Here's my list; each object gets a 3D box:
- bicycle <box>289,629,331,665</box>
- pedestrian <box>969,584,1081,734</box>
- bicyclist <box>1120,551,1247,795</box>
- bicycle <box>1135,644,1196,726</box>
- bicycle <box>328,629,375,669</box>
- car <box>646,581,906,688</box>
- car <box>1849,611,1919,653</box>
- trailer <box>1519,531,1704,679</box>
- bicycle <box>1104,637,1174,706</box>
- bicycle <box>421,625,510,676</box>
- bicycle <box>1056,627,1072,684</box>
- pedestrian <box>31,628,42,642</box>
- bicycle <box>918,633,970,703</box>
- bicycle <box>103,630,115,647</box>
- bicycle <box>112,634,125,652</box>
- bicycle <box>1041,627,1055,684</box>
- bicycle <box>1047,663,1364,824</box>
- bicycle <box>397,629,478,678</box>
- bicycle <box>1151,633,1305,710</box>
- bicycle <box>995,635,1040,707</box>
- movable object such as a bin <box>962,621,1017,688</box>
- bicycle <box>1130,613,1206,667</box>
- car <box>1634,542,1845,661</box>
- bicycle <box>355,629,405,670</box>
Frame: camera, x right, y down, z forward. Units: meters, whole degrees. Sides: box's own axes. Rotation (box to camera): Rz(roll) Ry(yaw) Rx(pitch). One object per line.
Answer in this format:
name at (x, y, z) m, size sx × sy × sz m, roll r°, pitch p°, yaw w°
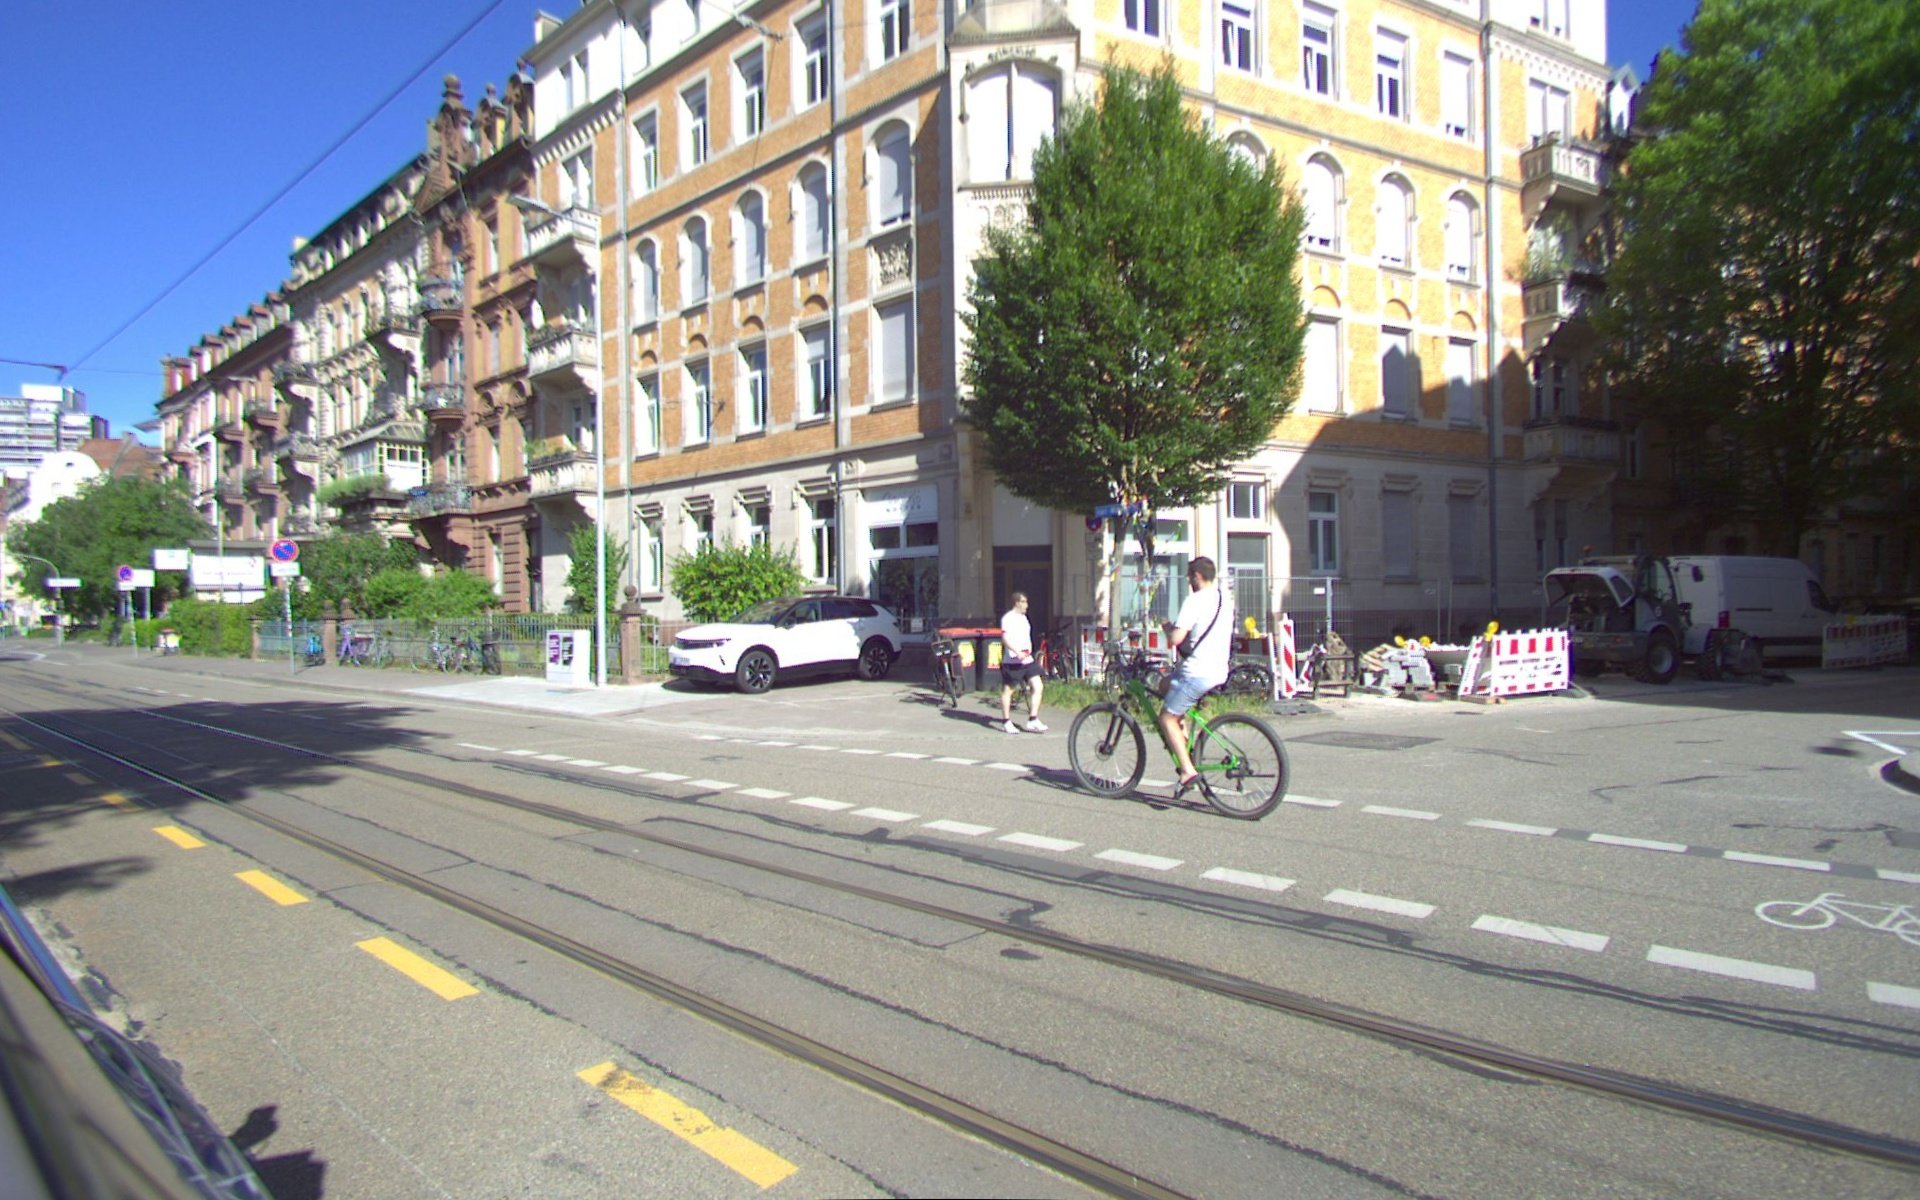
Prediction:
bicycle at (-19.647, 1.428, 30.571) m, size 1.767 × 1.041 × 0.557 m, roll -3°, pitch 0°, yaw 42°
pedestrian at (0.800, 0.685, 12.490) m, size 1.082 × 1.736 × 0.821 m, roll -1°, pitch 1°, yaw 41°
bicyclist at (1.576, 0.499, 7.175) m, size 0.744 × 1.631 × 0.459 m, roll -2°, pitch -3°, yaw 41°
bicycle at (2.613, 1.058, 12.955) m, size 0.613 × 0.921 × 1.293 m, roll 0°, pitch 1°, yaw 5°
bicycle at (-16.818, 1.358, 27.964) m, size 1.766 × 1.041 × 0.557 m, roll -2°, pitch 0°, yaw 40°
car at (-3.281, 0.545, 18.710) m, size 1.967 × 1.656 × 4.397 m, roll -1°, pitch 1°, yaw 43°
car at (28.702, 0.954, 29.438) m, size 1.555 × 1.222 × 4.010 m, roll 2°, pitch -2°, yaw -34°
trailer at (12.870, 0.115, 20.012) m, size 2.878 × 2.716 × 1.834 m, roll 1°, pitch -1°, yaw -26°
bicycle at (2.669, 1.046, 15.212) m, size 0.611 × 0.921 × 1.298 m, roll 0°, pitch 1°, yaw -11°
bicycle at (-11.230, 1.149, 23.016) m, size 1.745 × 1.041 × 0.564 m, roll -3°, pitch 0°, yaw 5°
bicycle at (1.858, 0.972, 18.153) m, size 0.244 × 0.921 × 1.540 m, roll 0°, pitch 1°, yaw 5°
pedestrian at (-86.969, 3.325, 95.291) m, size 0.724 × 1.291 × 0.650 m, roll -2°, pitch 0°, yaw 41°
bicycle at (-0.223, 1.010, 15.518) m, size 0.613 × 0.921 × 1.786 m, roll 0°, pitch 1°, yaw 5°
bicycle at (-49.435, 2.239, 58.782) m, size 0.338 × 0.933 × 1.944 m, roll -2°, pitch 0°, yaw -44°
bicycle at (-46.500, 2.374, 55.911) m, size 0.338 × 0.933 × 1.944 m, roll -2°, pitch 0°, yaw -44°
bicycle at (1.584, 0.974, 18.195) m, size 0.244 × 0.921 × 1.540 m, roll 0°, pitch 1°, yaw 5°
bicycle at (1.641, 0.939, 7.126) m, size 2.201 × 0.933 × 0.455 m, roll -2°, pitch -2°, yaw 41°
bicycle at (-12.477, 1.289, 24.185) m, size 1.752 × 1.041 × 0.562 m, roll -3°, pitch 3°, yaw 17°
bicycle at (3.669, 0.978, 13.969) m, size 1.963 × 0.983 × 0.579 m, roll -1°, pitch 0°, yaw 6°
bicycle at (0.836, 1.000, 14.536) m, size 0.613 × 0.921 × 1.293 m, roll 0°, pitch 1°, yaw 5°
movable object such as a bin at (0.498, 0.898, 17.003) m, size 0.568 × 1.079 × 0.718 m, roll -2°, pitch 0°, yaw -36°
bicycle at (4.403, 0.832, 21.408) m, size 1.576 × 1.045 × 0.407 m, roll -2°, pitch -2°, yaw -24°
car at (18.431, -0.043, 23.930) m, size 4.556 × 2.521 × 2.007 m, roll -2°, pitch 3°, yaw -24°
bicycle at (-15.378, 1.300, 26.807) m, size 1.766 × 1.041 × 0.557 m, roll -2°, pitch 0°, yaw 40°
